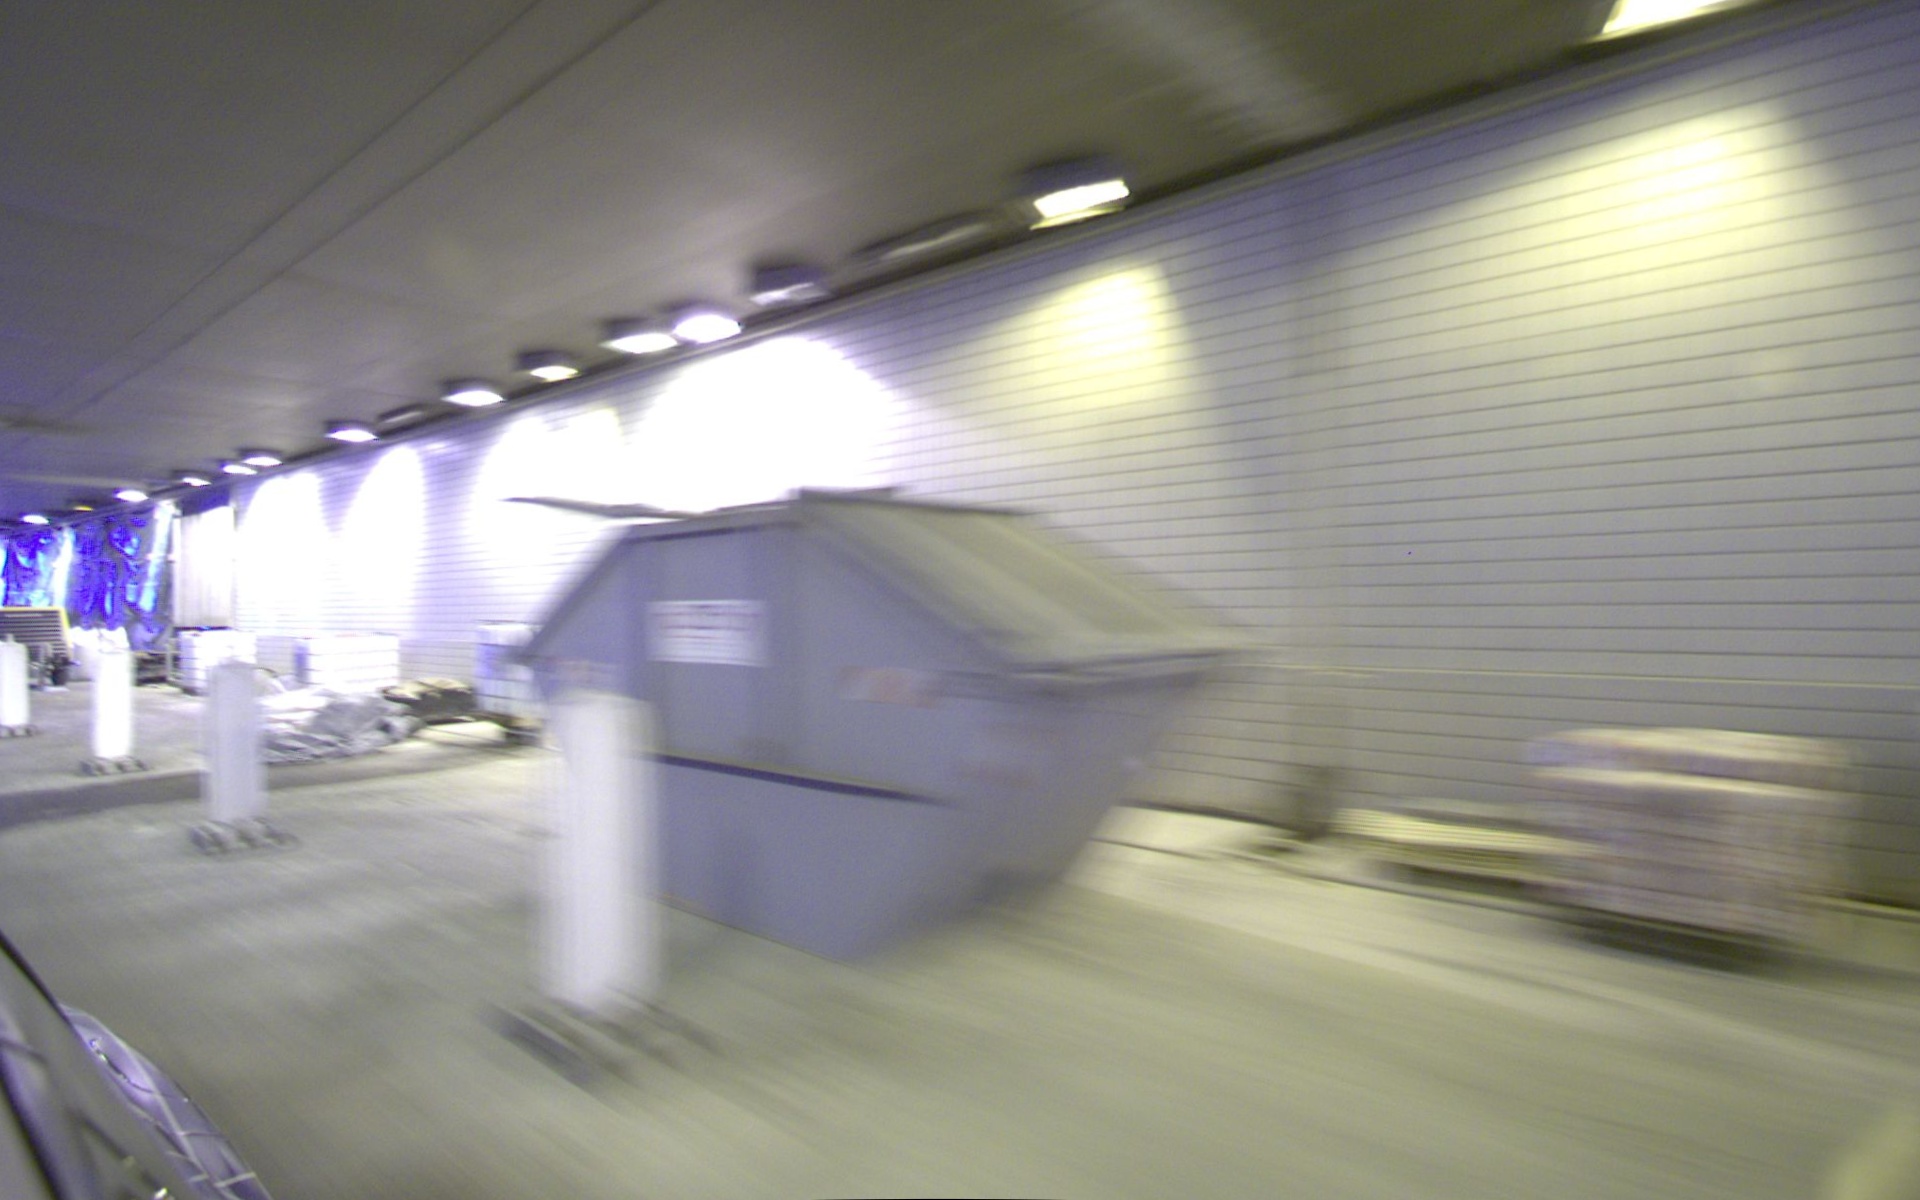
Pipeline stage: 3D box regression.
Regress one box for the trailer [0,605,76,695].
[{"bbox_3d":[-20.346,1.012,21.546,3.115,1.804,1.625,-1,-1,35],"label":"trailer"}]
